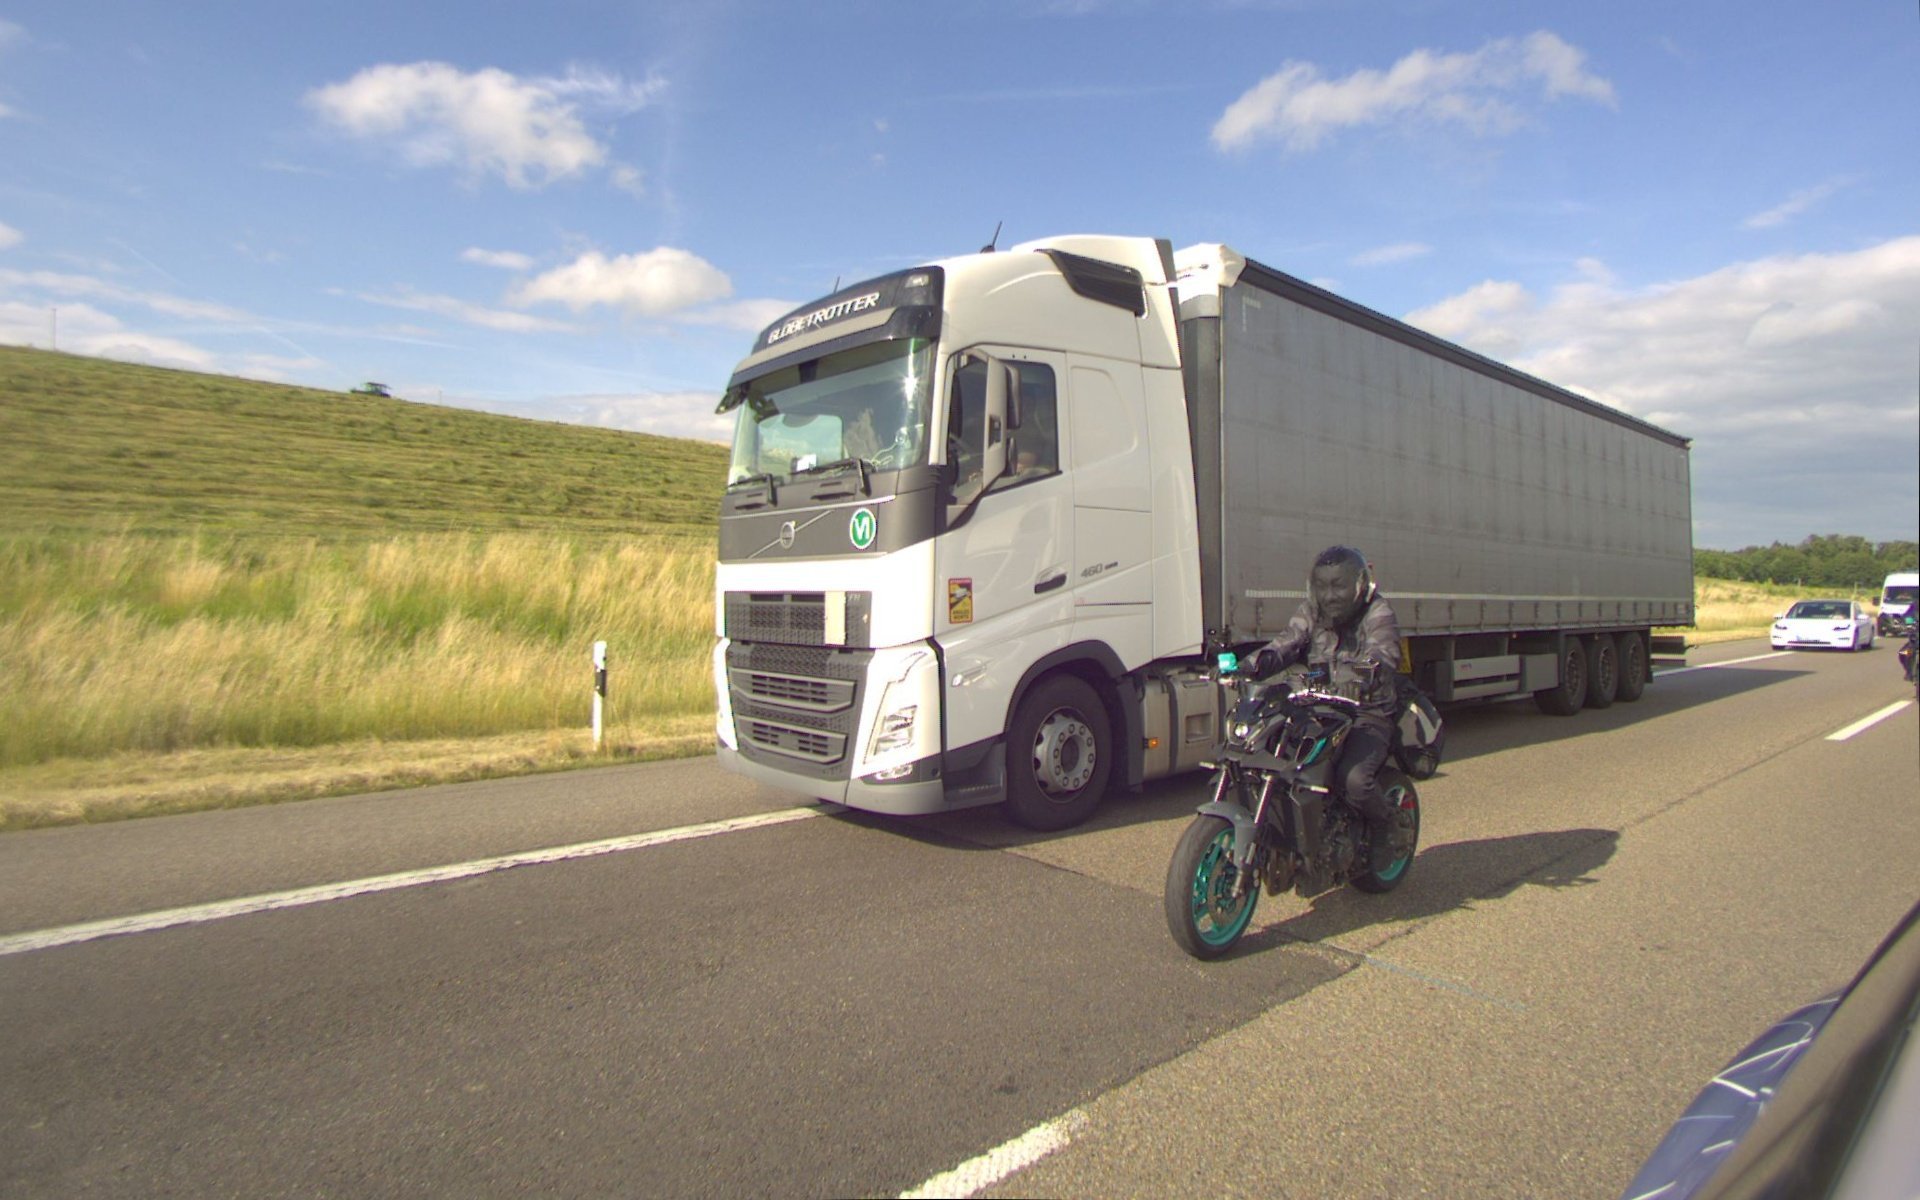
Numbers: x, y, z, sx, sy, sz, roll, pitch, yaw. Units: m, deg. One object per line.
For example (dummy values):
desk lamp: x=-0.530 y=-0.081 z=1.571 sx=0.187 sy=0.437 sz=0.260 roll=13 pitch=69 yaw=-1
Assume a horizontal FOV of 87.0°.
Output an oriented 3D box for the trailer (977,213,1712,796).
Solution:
trailer: x=6.041 y=-0.721 z=12.577 sx=13.462 sy=4.091 sz=2.621 roll=0 pitch=1 yaw=-42

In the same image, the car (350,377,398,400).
car: x=-59.947 y=-21.627 z=103.640 sx=1.695 sy=1.565 sz=3.958 roll=1 pitch=1 yaw=30

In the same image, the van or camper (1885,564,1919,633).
van or camper: x=38.516 y=-0.093 z=40.062 sx=6.301 sy=2.576 sz=2.100 roll=-1 pitch=1 yaw=-41

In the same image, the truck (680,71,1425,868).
truck: x=1.120 y=-0.705 z=8.185 sx=6.014 sy=4.091 sz=2.605 roll=0 pitch=1 yaw=-42

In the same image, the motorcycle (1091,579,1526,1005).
motorcycle: x=1.586 y=0.649 z=4.458 sx=1.946 sy=1.474 sz=0.898 roll=-1 pitch=1 yaw=-38

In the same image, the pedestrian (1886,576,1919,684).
pedestrian: x=13.622 y=0.408 z=14.113 sx=0.965 sy=1.474 sz=0.898 roll=0 pitch=1 yaw=-38

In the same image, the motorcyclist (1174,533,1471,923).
motorcyclist: x=1.577 y=0.470 z=4.445 sx=0.876 sy=1.474 sz=0.898 roll=0 pitch=1 yaw=-38

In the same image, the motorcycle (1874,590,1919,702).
motorcycle: x=13.587 y=0.606 z=14.093 sx=2.228 sy=1.474 sz=0.898 roll=-1 pitch=1 yaw=-38

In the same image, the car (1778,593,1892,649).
car: x=25.122 y=0.539 z=29.017 sx=4.384 sy=1.435 sz=1.870 roll=-1 pitch=1 yaw=-41
